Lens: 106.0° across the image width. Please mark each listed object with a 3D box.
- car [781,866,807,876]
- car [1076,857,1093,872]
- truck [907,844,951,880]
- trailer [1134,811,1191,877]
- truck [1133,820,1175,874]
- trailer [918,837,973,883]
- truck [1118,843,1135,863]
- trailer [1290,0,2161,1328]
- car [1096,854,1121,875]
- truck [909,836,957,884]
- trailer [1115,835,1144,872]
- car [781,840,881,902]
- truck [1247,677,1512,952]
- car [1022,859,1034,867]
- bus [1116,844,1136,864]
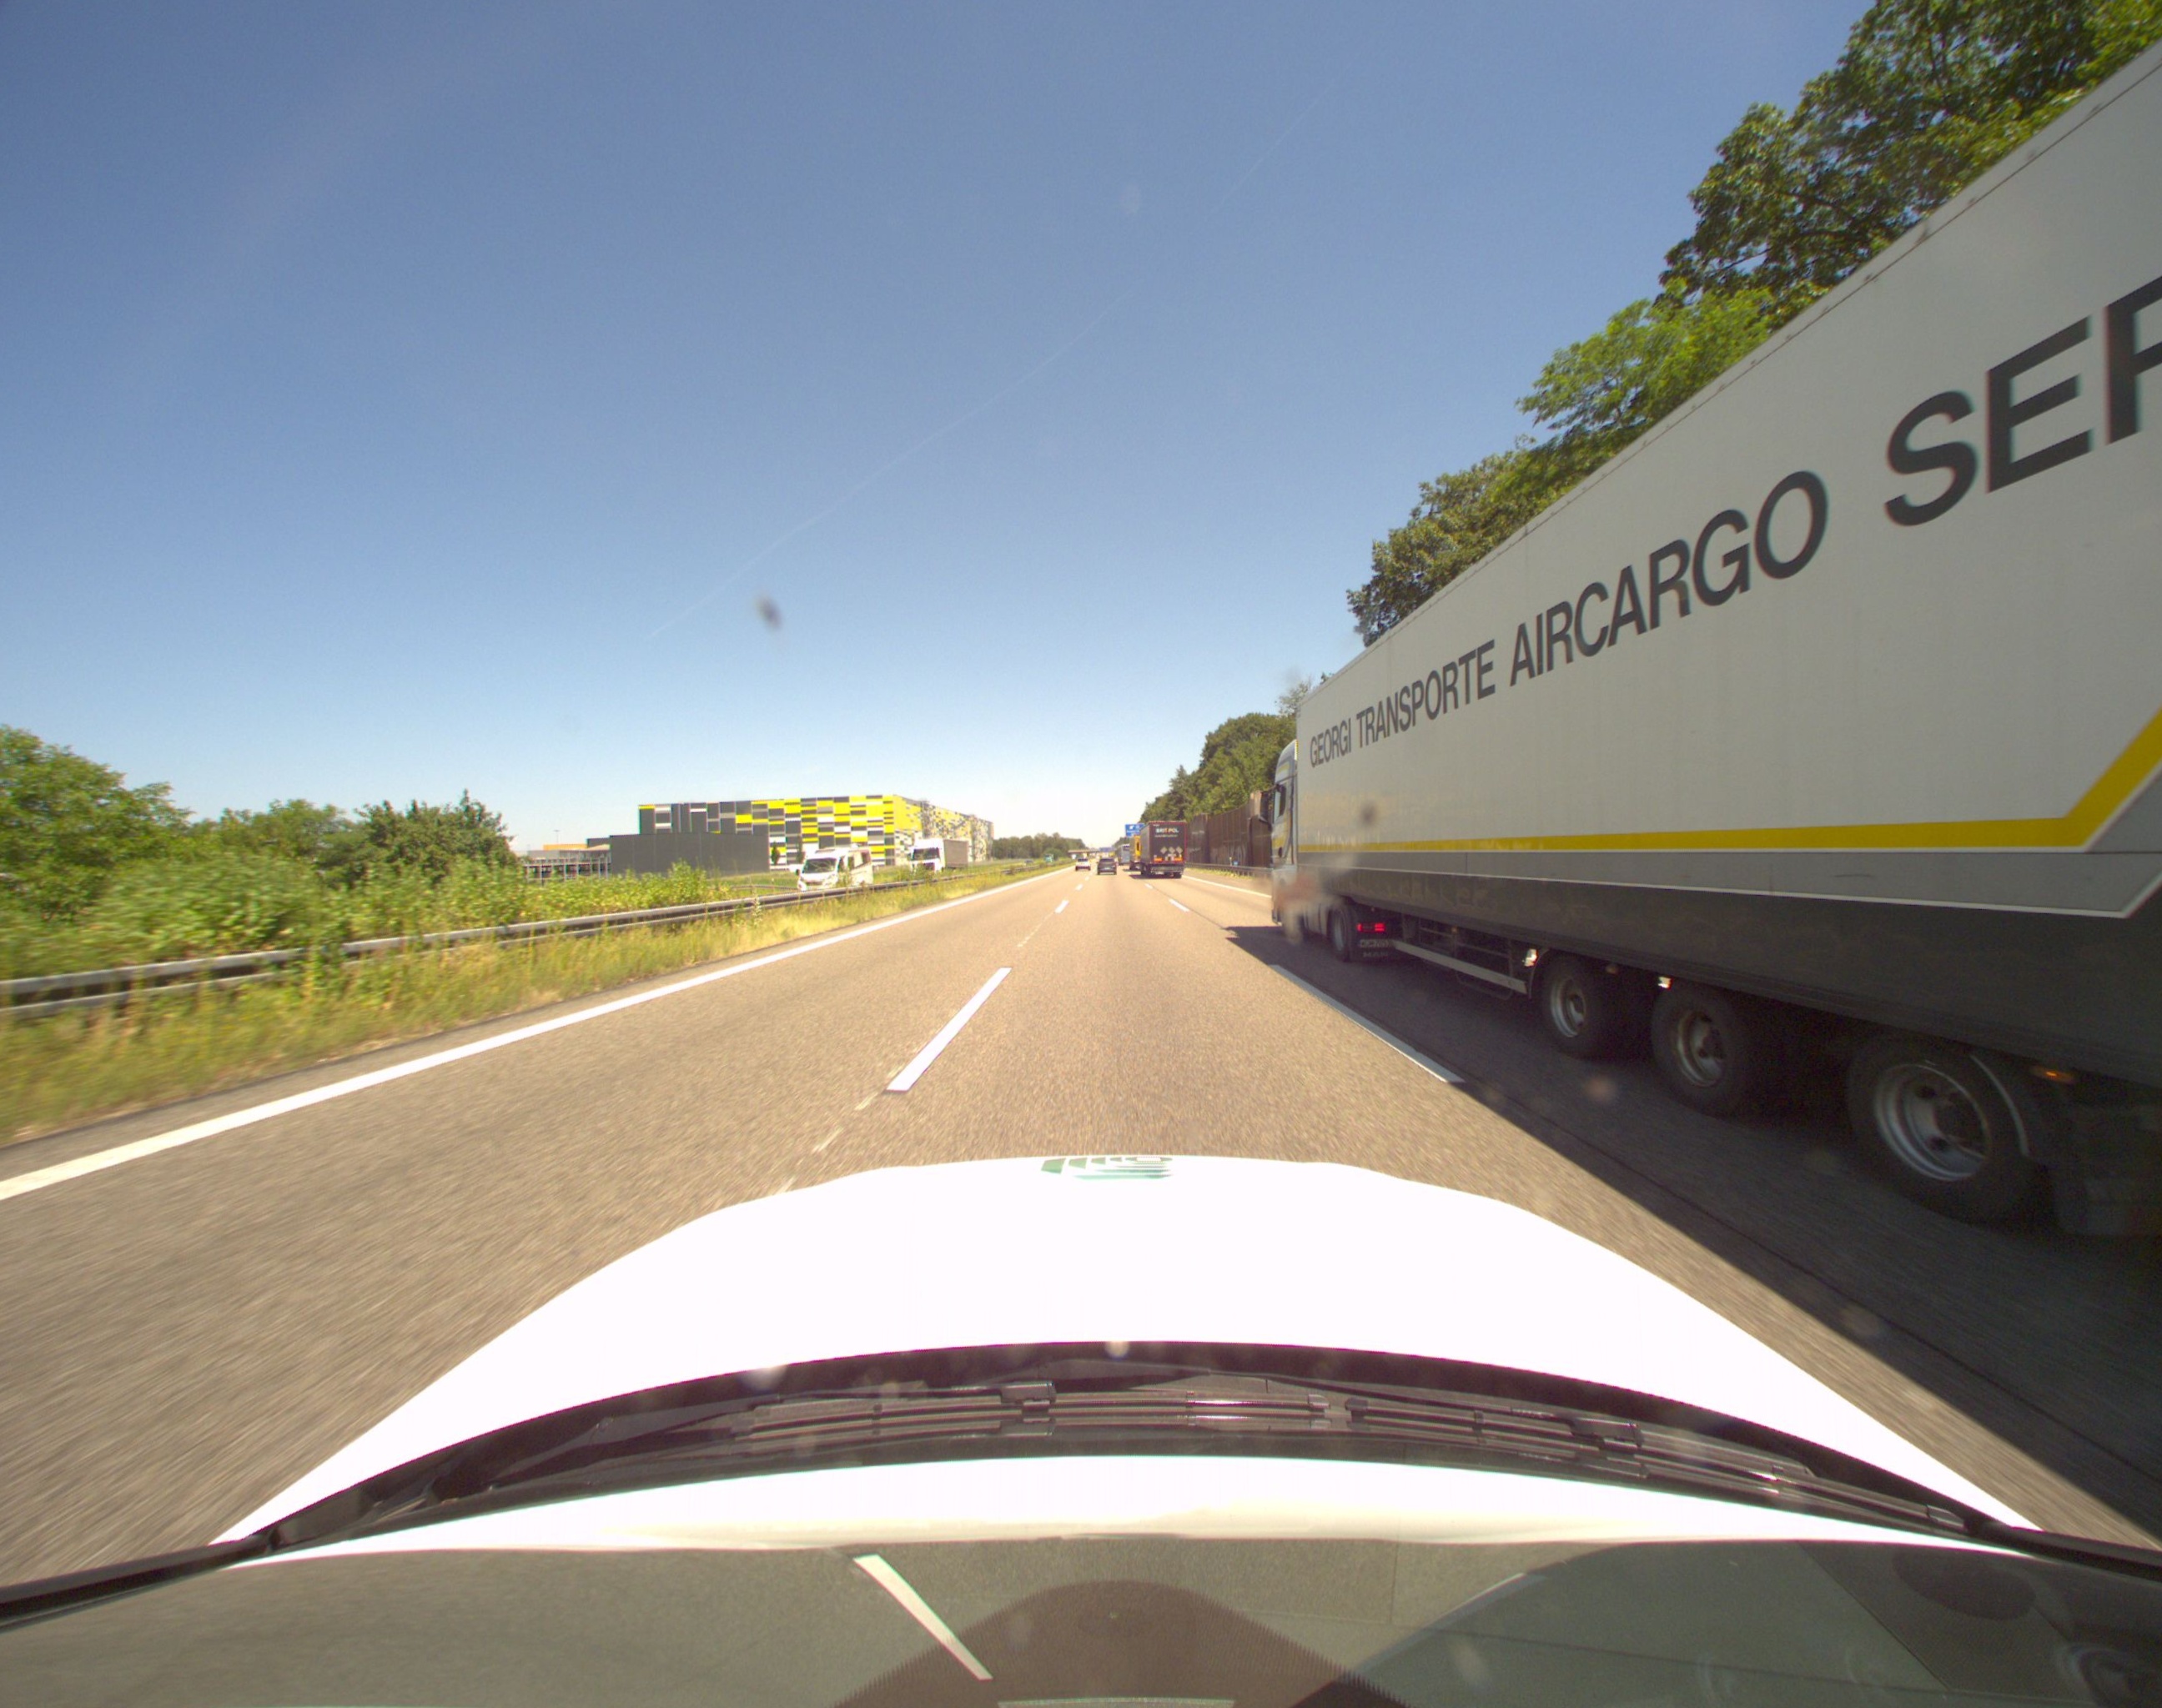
[{"bbox_3d":[-69.648,4.079,197.782,5.628,2.178,2.088,-2,0,-31],"label":"car"},{"bbox_3d":[0.421,1.225,98.264,1.987,1.728,4.131,-1,0,1],"label":"car"},{"bbox_3d":[-18.050,0.945,97.445,2.639,3.884,10.830,-5,0,1],"label":"truck"},{"bbox_3d":[6.079,-0.626,63.304,3.095,4.507,14.897,-1,0,1],"label":"trailer"},{"bbox_3d":[6.218,-0.568,70.087,3.077,4.441,6.053,-1,-1,1],"label":"truck"},{"bbox_3d":[-14.333,0.681,87.382,3.184,4.422,13.329,-3,-1,1],"label":"trailer"},{"bbox_3d":[10.077,-0.144,179.767,3.409,4.126,9.570,-3,0,2],"label":"truck"},{"bbox_3d":[4.868,-0.699,6.997,2.983,4.289,13.421,-1,0,1],"label":"trailer"},{"bbox_3d":[2.524,0.942,75.473,2.208,1.790,5.394,-2,0,1],"label":"car"},{"bbox_3d":[-14.510,0.597,80.458,3.149,4.426,6.982,-2,-1,1],"label":"truck"},{"bbox_3d":[5.416,-0.038,93.239,2.824,3.954,11.686,-1,0,1],"label":"trailer"},{"bbox_3d":[-13.560,0.868,44.976,2.536,2.982,8.091,-2,0,3],"label":"car"},{"bbox_3d":[5.073,-0.577,15.020,2.992,4.125,5.254,-1,-1,1],"label":"truck"},{"bbox_3d":[-11.826,2.036,180.603,1.986,1.680,5.554,-3,-2,2],"label":"car"},{"bbox_3d":[7.874,0.067,144.106,3.052,3.326,8.273,-3,0,0],"label":"bus"}]
